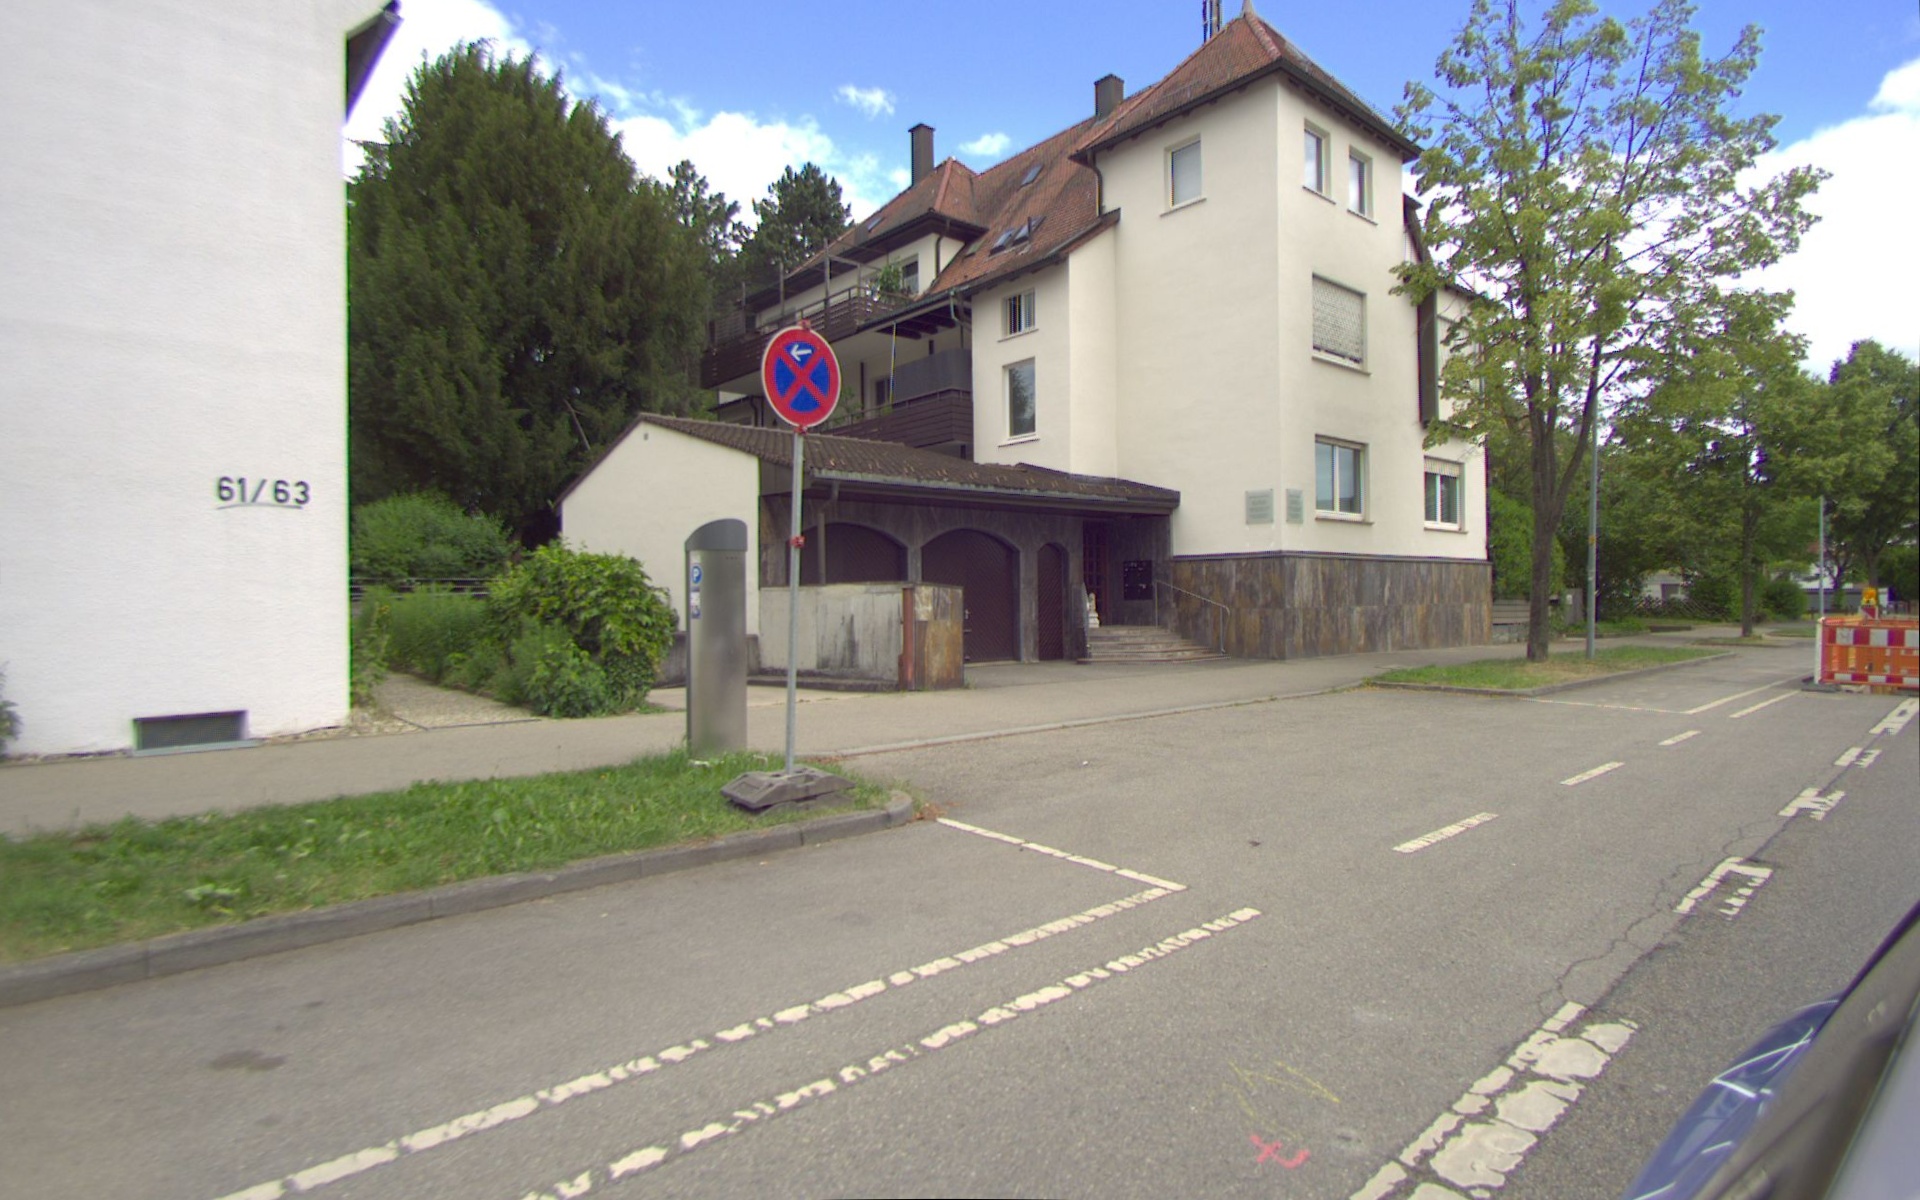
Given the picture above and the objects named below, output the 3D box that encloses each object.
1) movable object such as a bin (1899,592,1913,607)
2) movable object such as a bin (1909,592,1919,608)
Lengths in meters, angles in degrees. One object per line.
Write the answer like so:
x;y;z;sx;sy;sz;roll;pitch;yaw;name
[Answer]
65.752;-0.030;70.321;0.508;1.071;0.542;0;0;-24;movable object such as a bin
65.963;0.006;69.825;0.508;1.058;0.501;0;0;-24;movable object such as a bin
